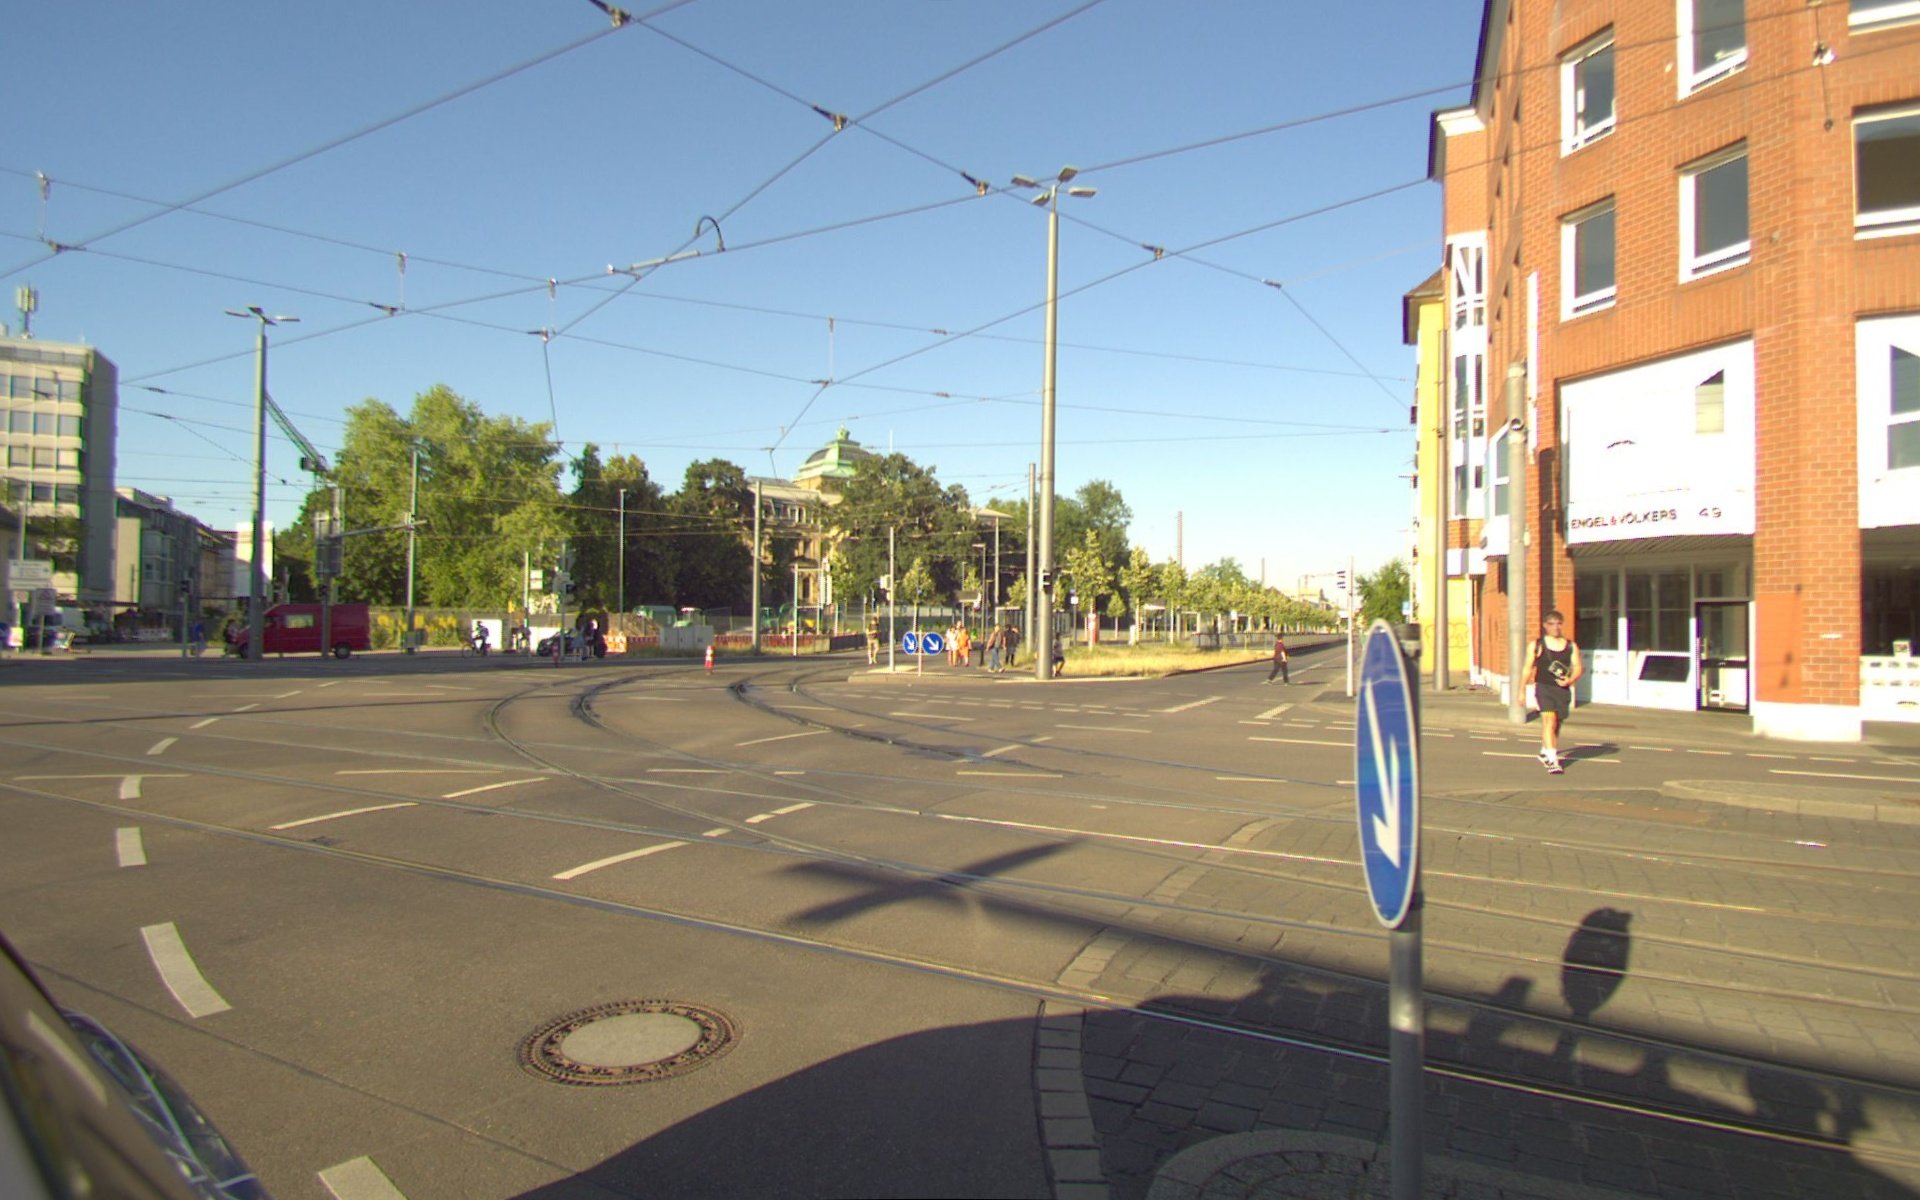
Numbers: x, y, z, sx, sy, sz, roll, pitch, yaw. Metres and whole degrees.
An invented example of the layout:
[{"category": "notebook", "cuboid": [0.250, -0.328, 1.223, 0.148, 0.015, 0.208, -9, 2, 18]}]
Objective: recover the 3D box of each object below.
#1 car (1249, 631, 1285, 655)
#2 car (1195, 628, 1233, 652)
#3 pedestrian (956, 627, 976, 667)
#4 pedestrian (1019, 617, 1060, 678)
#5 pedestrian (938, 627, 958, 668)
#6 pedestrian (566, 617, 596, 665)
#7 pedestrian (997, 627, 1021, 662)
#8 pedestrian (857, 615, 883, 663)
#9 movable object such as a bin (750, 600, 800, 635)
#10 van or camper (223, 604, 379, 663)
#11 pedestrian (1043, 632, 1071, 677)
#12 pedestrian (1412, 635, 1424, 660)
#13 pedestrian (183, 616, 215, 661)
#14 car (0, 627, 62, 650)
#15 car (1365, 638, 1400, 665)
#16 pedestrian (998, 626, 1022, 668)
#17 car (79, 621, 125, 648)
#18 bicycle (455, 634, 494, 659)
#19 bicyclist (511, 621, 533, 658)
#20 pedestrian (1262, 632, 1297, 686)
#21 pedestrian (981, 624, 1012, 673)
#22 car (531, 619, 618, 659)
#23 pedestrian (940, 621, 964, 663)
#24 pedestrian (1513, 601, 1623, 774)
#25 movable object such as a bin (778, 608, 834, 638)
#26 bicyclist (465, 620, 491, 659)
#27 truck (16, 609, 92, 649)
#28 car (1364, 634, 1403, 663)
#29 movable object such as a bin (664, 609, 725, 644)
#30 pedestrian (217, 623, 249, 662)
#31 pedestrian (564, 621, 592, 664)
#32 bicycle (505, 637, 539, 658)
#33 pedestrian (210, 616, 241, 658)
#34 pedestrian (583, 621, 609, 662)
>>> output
[{"category": "car", "cuboid": [20.386, 2.852, 67.074, 1.875, 1.519, 3.912, -2, -2, 23]}, {"category": "car", "cuboid": [17.180, 2.692, 68.285, 1.875, 1.519, 3.912, -2, -2, 23]}, {"category": "pedestrian", "cuboid": [0.202, 1.716, 37.053, 0.628, 1.443, 0.525, -1, -2, -7]}, {"category": "pedestrian", "cuboid": [2.378, 1.428, 30.242, 0.764, 1.771, 0.902, 0, -3, -38]}, {"category": "pedestrian", "cuboid": [-0.442, 1.736, 37.001, 0.628, 1.467, 0.525, -1, -2, -6]}, {"category": "pedestrian", "cuboid": [-14.914, 1.631, 39.878, 0.885, 1.815, 0.790, -5, -3, -12]}, {"category": "pedestrian", "cuboid": [2.278, 2.036, 46.646, 0.828, 1.596, 0.685, 1, -3, -40]}, {"category": "pedestrian", "cuboid": [-3.499, 1.521, 39.463, 0.784, 1.878, 0.614, -2, -2, 26]}, {"category": "movable object such as a bin", "cuboid": [-18.351, 1.770, 100.591, 1.990, 3.355, 5.324, -2, -2, 27]}, {"category": "van or camper", "cuboid": [-29.861, 1.483, 46.033, 5.815, 2.548, 2.005, 0, -3, -34]}, {"category": "pedestrian", "cuboid": [2.972, 1.668, 30.967, 0.587, 1.371, 0.609, 3, -5, -40]}, {"category": "pedestrian", "cuboid": [32.967, 3.402, 72.804, 0.643, 1.759, 0.593, -2, -3, 30]}, {"category": "pedestrian", "cuboid": [-30.993, 1.583, 41.254, 0.686, 1.807, 1.045, -1, -2, -14]}, {"category": "car", "cuboid": [-58.214, 2.404, 63.499, 1.684, 1.375, 4.208, 0, -2, -25]}, {"category": "car", "cuboid": [25.311, 3.065, 60.654, 1.875, 1.519, 3.646, -2, -2, 23]}, {"category": "pedestrian", "cuboid": [1.951, 1.812, 39.412, 0.832, 1.596, 0.681, -2, -2, 10]}, {"category": "car", "cuboid": [-65.662, 2.651, 77.507, 1.684, 1.996, 3.774, 0, -2, -25]}, {"category": "bicycle", "cuboid": [-22.604, 2.171, 47.168, 0.538, 1.109, 1.797, -2, -2, 18]}, {"category": "bicyclist", "cuboid": [-21.353, 1.927, 49.331, 0.611, 1.759, 0.787, -2, -2, 18]}, {"category": "pedestrian", "cuboid": [9.710, 1.781, 30.765, 0.598, 1.600, 0.791, -1, -2, -19]}, {"category": "pedestrian", "cuboid": [1.185, 1.569, 32.972, 0.775, 1.548, 0.621, 0, -3, -37]}, {"category": "car", "cuboid": [-20.707, 2.103, 54.480, 3.937, 2.029, 2.003, 1, -3, -41]}, {"category": "pedestrian", "cuboid": [-0.318, 1.742, 41.890, 0.784, 1.712, 0.614, -2, -2, 26]}, {"category": "pedestrian", "cuboid": [6.586, 0.920, 10.968, 0.829, 1.771, 0.686, -3, -3, 44]}, {"category": "movable object such as a bin", "cuboid": [-14.988, 2.251, 98.872, 1.994, 2.838, 5.800, -3, -2, 33]}, {"category": "bicyclist", "cuboid": [-22.562, 1.835, 47.377, 0.538, 1.781, 1.054, -2, -2, 18]}, {"category": "truck", "cuboid": [-61.155, 1.966, 68.439, 2.261, 2.568, 5.657, 0, -2, -25]}, {"category": "car", "cuboid": [23.484, 2.678, 56.195, 1.875, 1.519, 3.646, -2, -2, 23]}, {"category": "movable object such as a bin", "cuboid": [-21.738, 2.158, 83.016, 1.990, 2.704, 4.966, -2, -2, 27]}, {"category": "pedestrian", "cuboid": [-33.985, 1.989, 47.292, 0.999, 1.776, 0.757, -2, -2, 17]}, {"category": "pedestrian", "cuboid": [-14.914, 1.661, 39.519, 0.885, 1.653, 0.790, -1, -2, -12]}, {"category": "bicycle", "cuboid": [-21.352, 2.308, 49.403, 0.538, 1.009, 1.683, -2, -2, 18]}, {"category": "pedestrian", "cuboid": [-30.202, 1.533, 41.624, 0.686, 1.695, 1.045, -1, -2, -14]}, {"category": "pedestrian", "cuboid": [-15.167, 1.731, 42.153, 0.782, 1.653, 0.615, -3, -3, 21]}]
